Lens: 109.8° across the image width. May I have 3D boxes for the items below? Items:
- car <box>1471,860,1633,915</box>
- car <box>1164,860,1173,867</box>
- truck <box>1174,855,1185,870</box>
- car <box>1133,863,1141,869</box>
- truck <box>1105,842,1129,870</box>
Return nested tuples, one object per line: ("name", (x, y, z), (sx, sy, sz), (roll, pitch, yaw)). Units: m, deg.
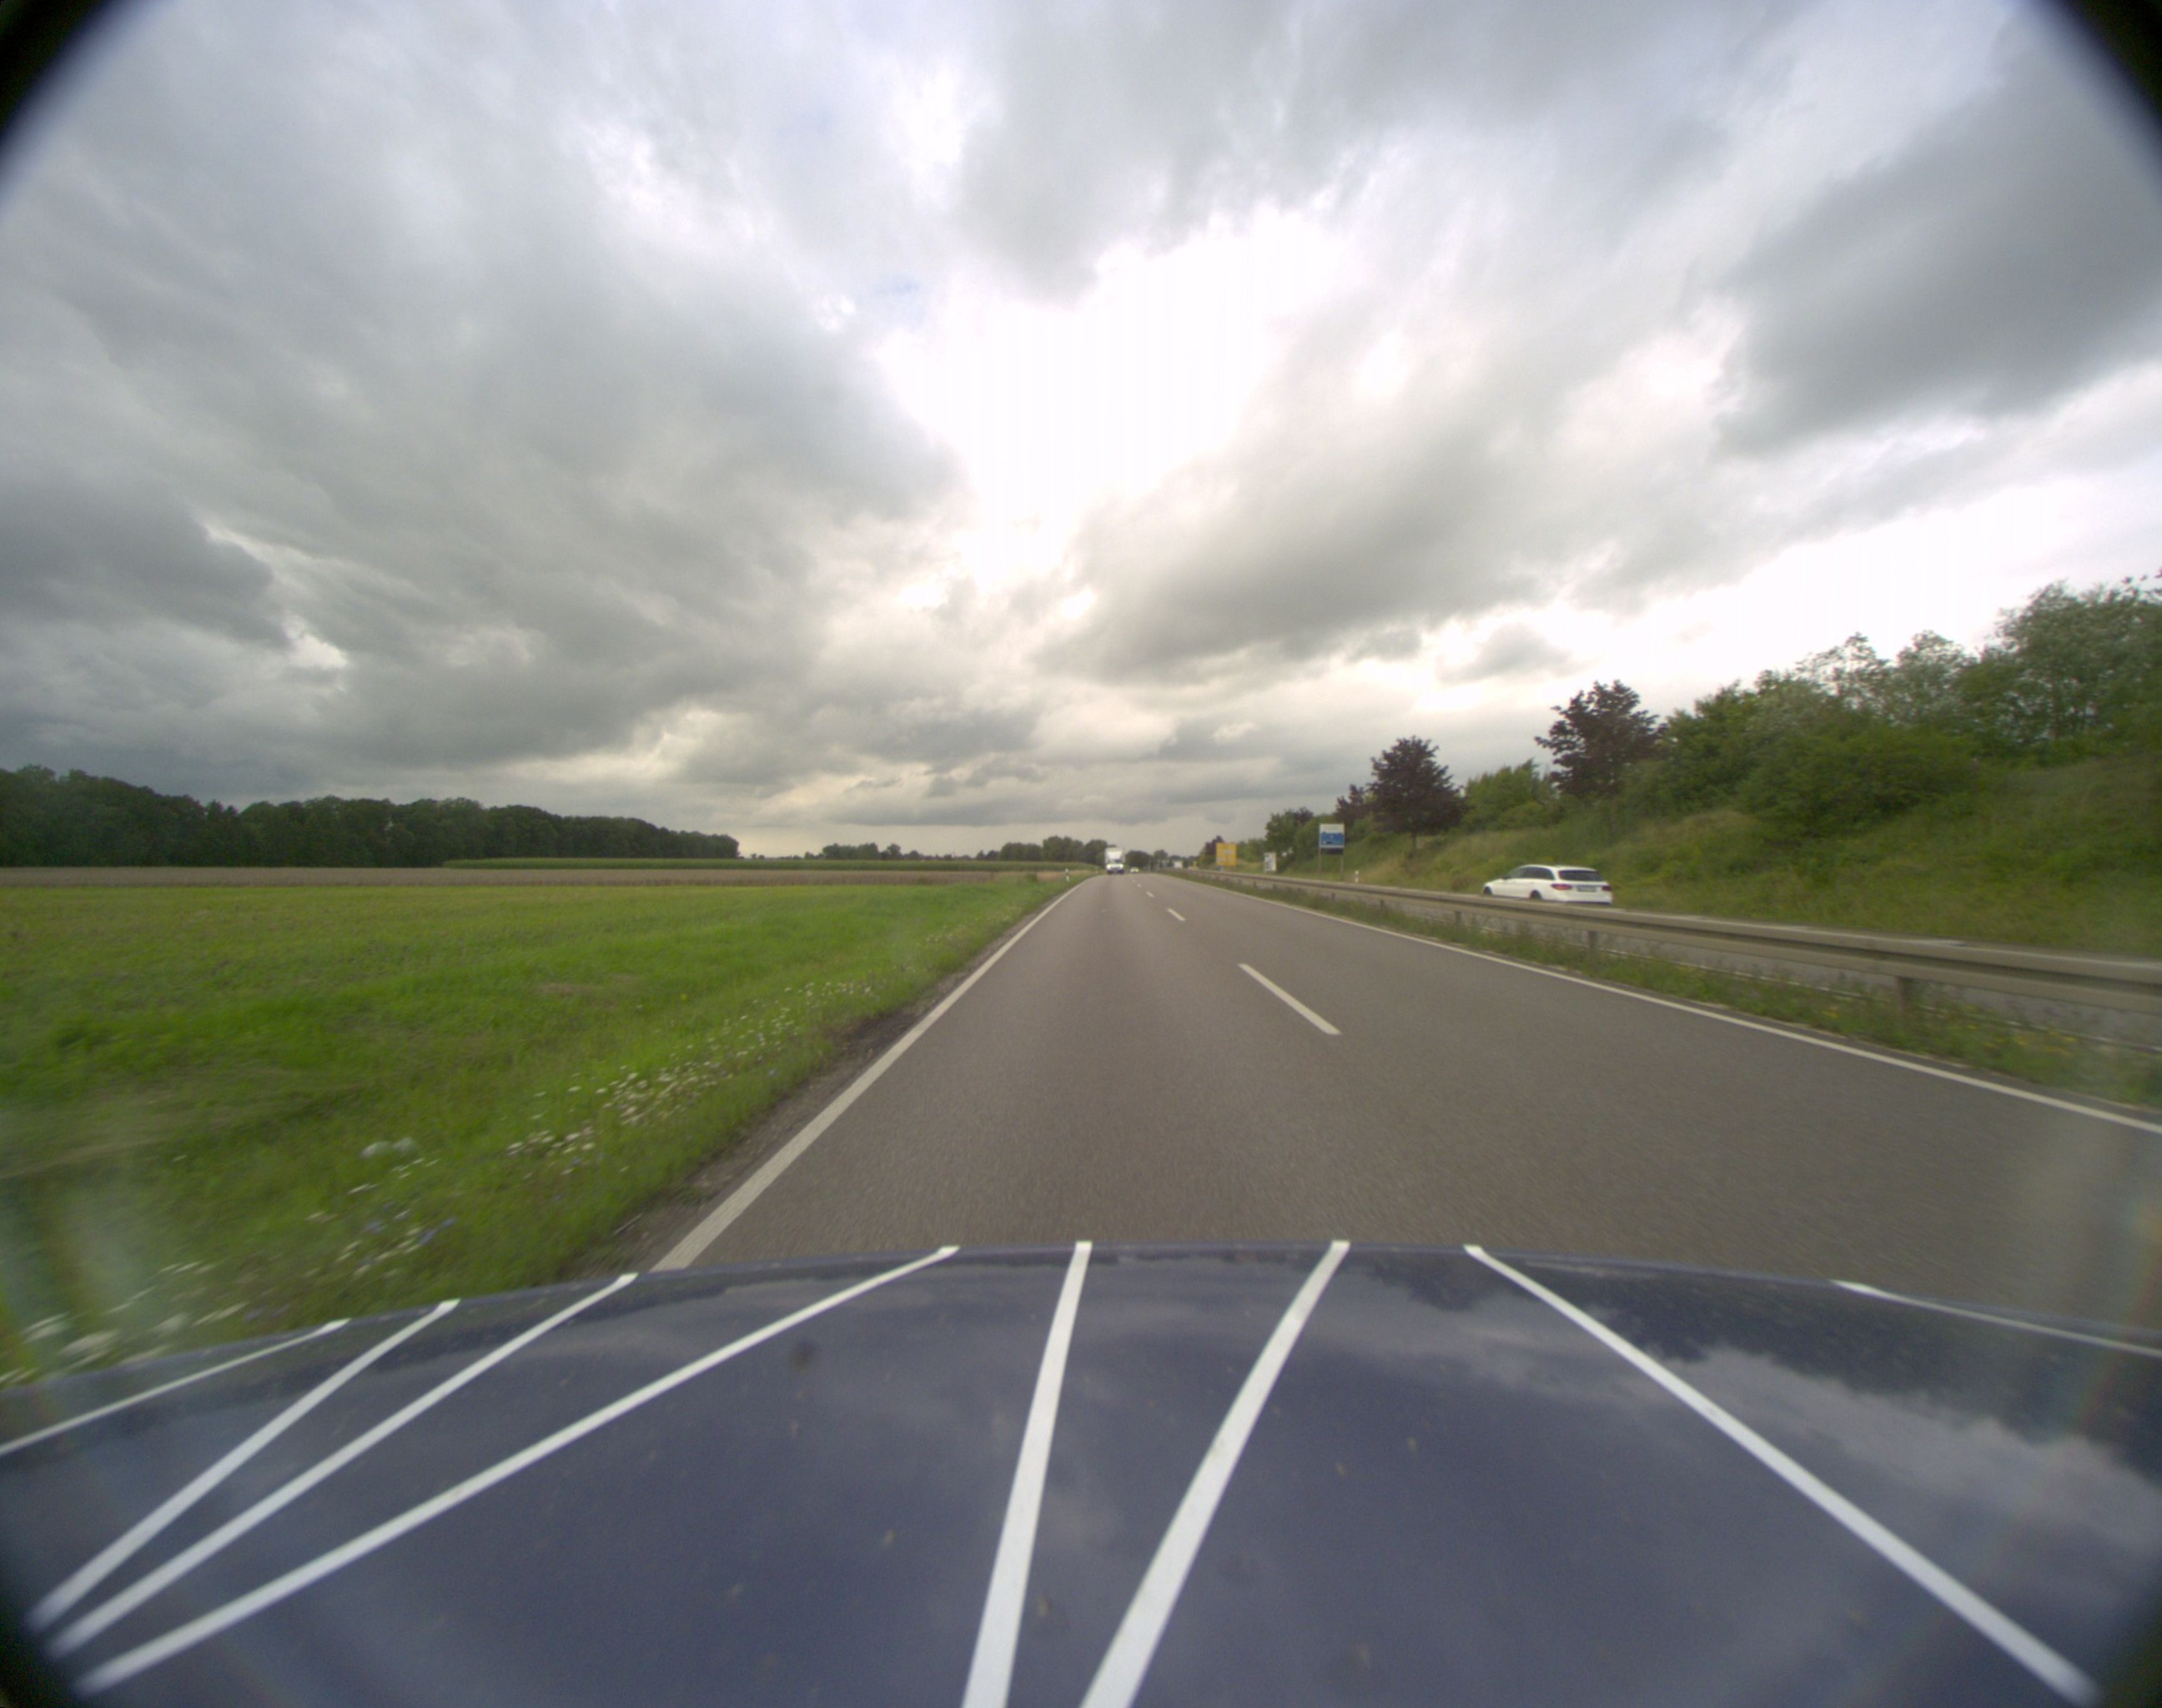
("car", (14.272, 0.996, 23.460), (1.998, 1.508, 4.990), (0, -1, 1))
("car", (19.245, 2.149, 166.687), (1.758, 1.477, 4.579), (0, -1, 5))
("truck", (26.535, 2.409, 205.063), (2.809, 3.973, 5.290), (0, -1, 5))
("car", (14.842, 3.170, 201.722), (2.090, 1.509, 4.196), (0, -1, 5))
("truck", (5.036, 0.346, 103.929), (2.933, 3.651, 8.448), (0, -1, 5))
